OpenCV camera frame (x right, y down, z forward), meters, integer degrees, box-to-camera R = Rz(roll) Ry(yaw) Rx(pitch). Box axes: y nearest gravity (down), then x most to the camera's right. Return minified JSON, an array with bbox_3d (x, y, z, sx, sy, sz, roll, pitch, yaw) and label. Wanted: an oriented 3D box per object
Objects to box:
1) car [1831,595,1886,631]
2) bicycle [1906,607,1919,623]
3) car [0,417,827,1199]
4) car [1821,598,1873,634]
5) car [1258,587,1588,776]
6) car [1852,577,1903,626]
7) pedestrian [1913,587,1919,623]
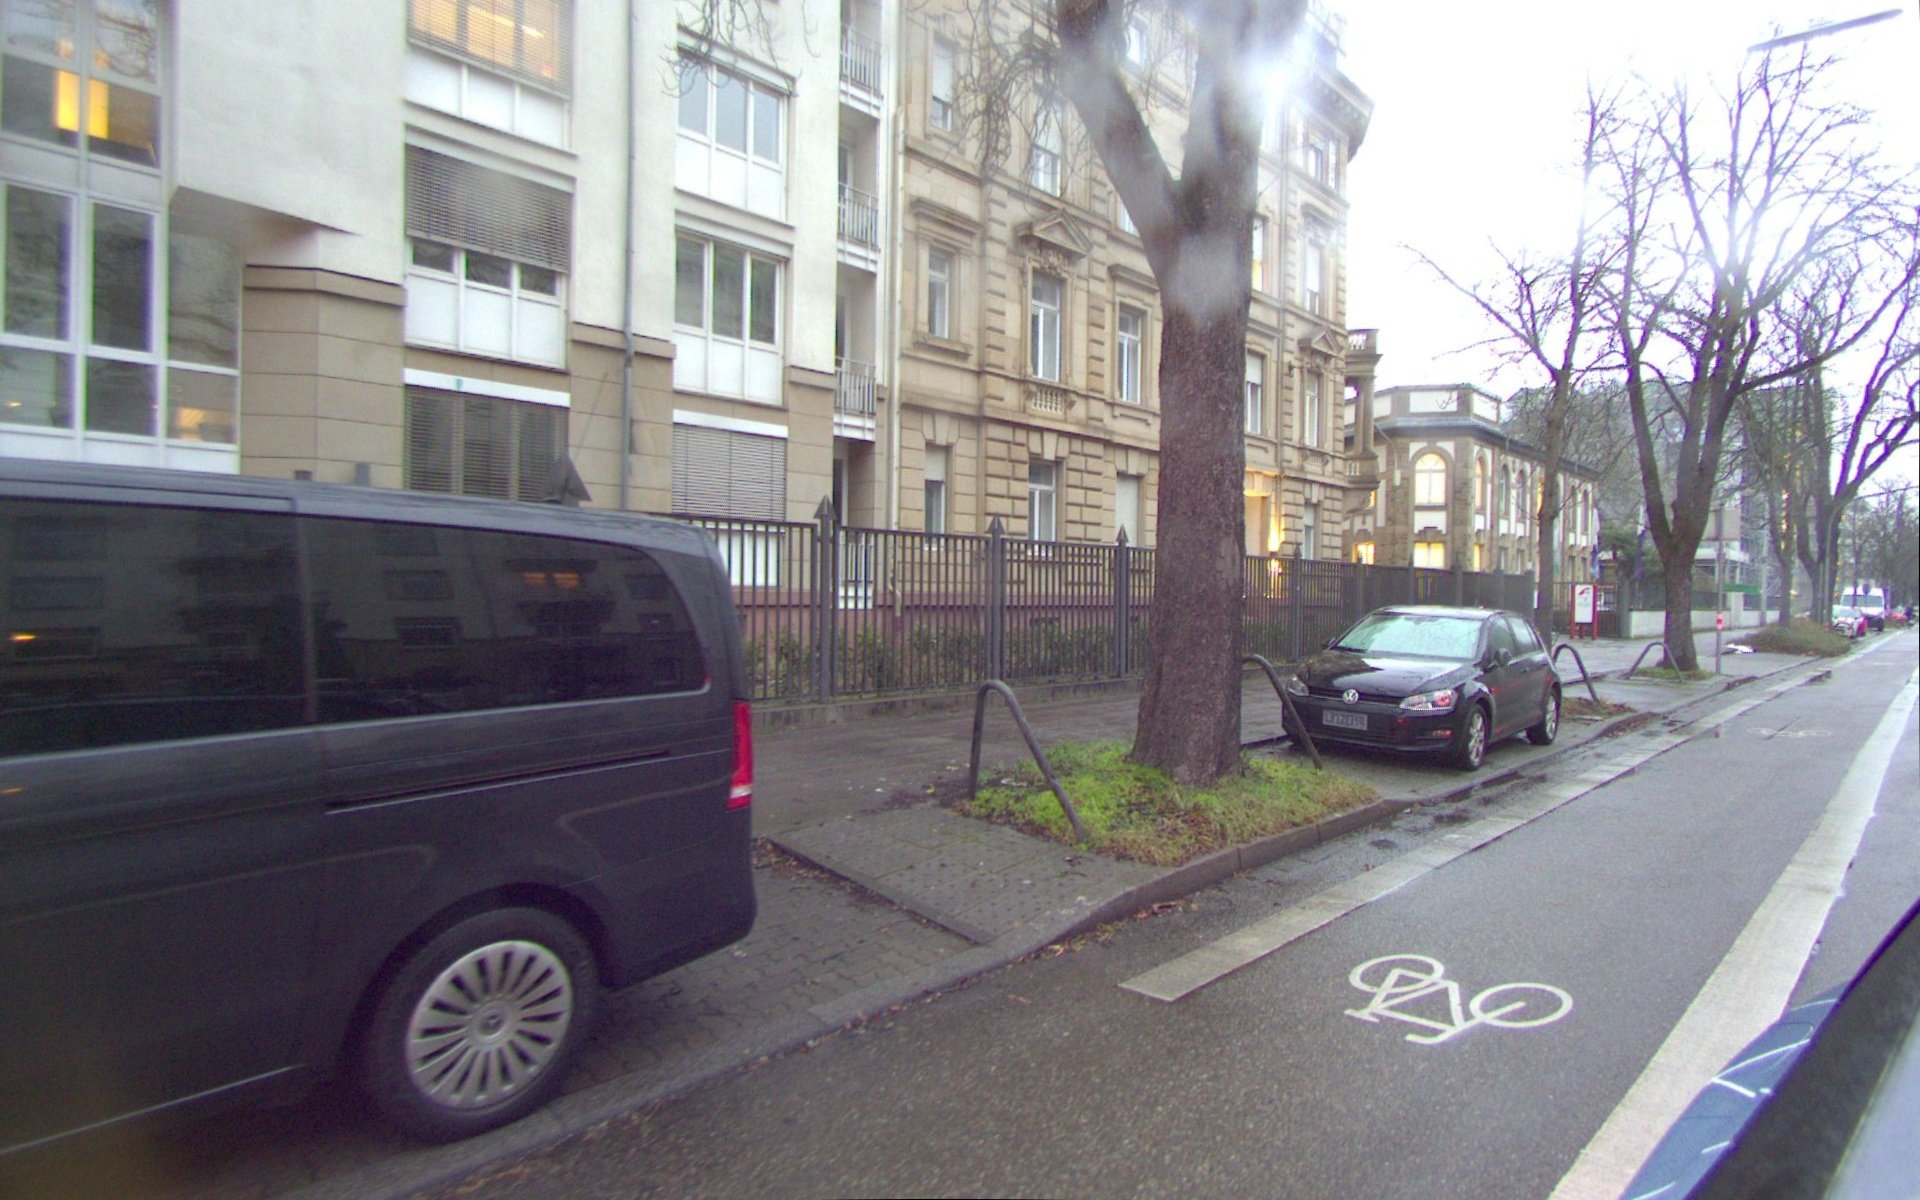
[{"bbox_3d":[45.080,0.627,50.788,1.992,1.703,3.939,0,1,42],"label":"car"},{"bbox_3d":[60.692,0.953,63.548,1.913,1.004,0.845,0,1,44],"label":"bicycle"},{"bbox_3d":[-2.921,0.541,2.578,4.882,1.899,2.032,0,1,-45],"label":"car"},{"bbox_3d":[38.297,0.648,43.670,1.623,1.425,3.939,0,1,42],"label":"car"},{"bbox_3d":[4.877,0.674,10.355,1.758,1.463,4.091,4,2,44],"label":"car"},{"bbox_3d":[52.156,0.062,57.567,2.086,2.670,5.367,0,1,42],"label":"car"},{"bbox_3d":[60.655,0.321,63.562,1.115,2.287,0.938,0,0,43],"label":"pedestrian"}]
